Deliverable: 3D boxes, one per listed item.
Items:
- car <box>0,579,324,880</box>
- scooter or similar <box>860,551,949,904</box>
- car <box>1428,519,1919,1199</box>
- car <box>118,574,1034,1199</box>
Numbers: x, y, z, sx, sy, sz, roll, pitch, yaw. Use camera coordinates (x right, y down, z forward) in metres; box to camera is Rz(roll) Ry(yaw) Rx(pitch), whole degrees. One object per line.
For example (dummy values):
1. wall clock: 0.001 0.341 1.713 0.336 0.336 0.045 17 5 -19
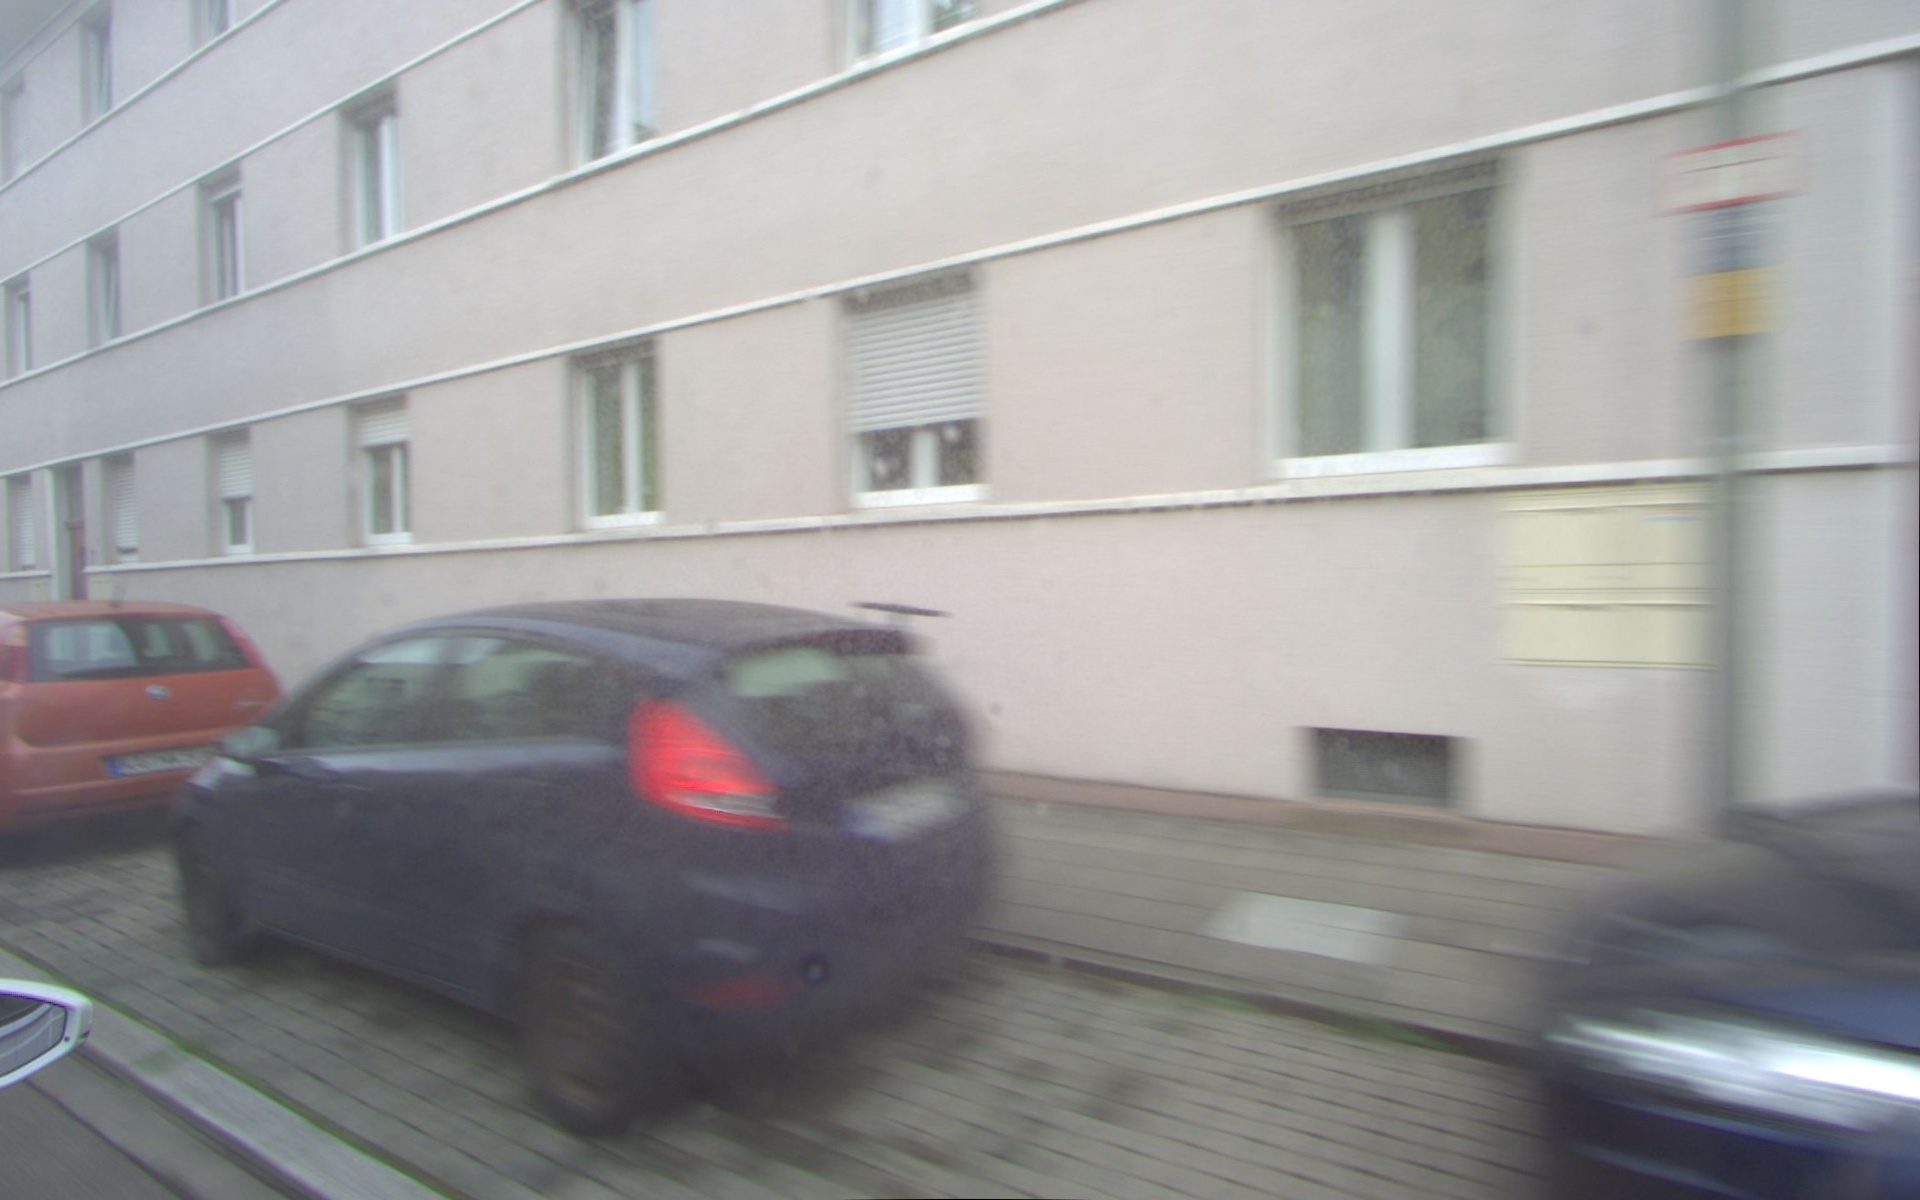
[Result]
1. car: -6.180 0.653 6.792 3.771 1.546 1.692 0 2 33
2. scooter or similar: -0.353 0.746 6.156 0.340 2.039 0.677 1 -1 -19
3. car: 2.733 0.643 1.143 3.816 1.498 1.563 0 1 34
4. car: -1.681 0.681 4.001 3.644 1.494 1.562 0 3 34
